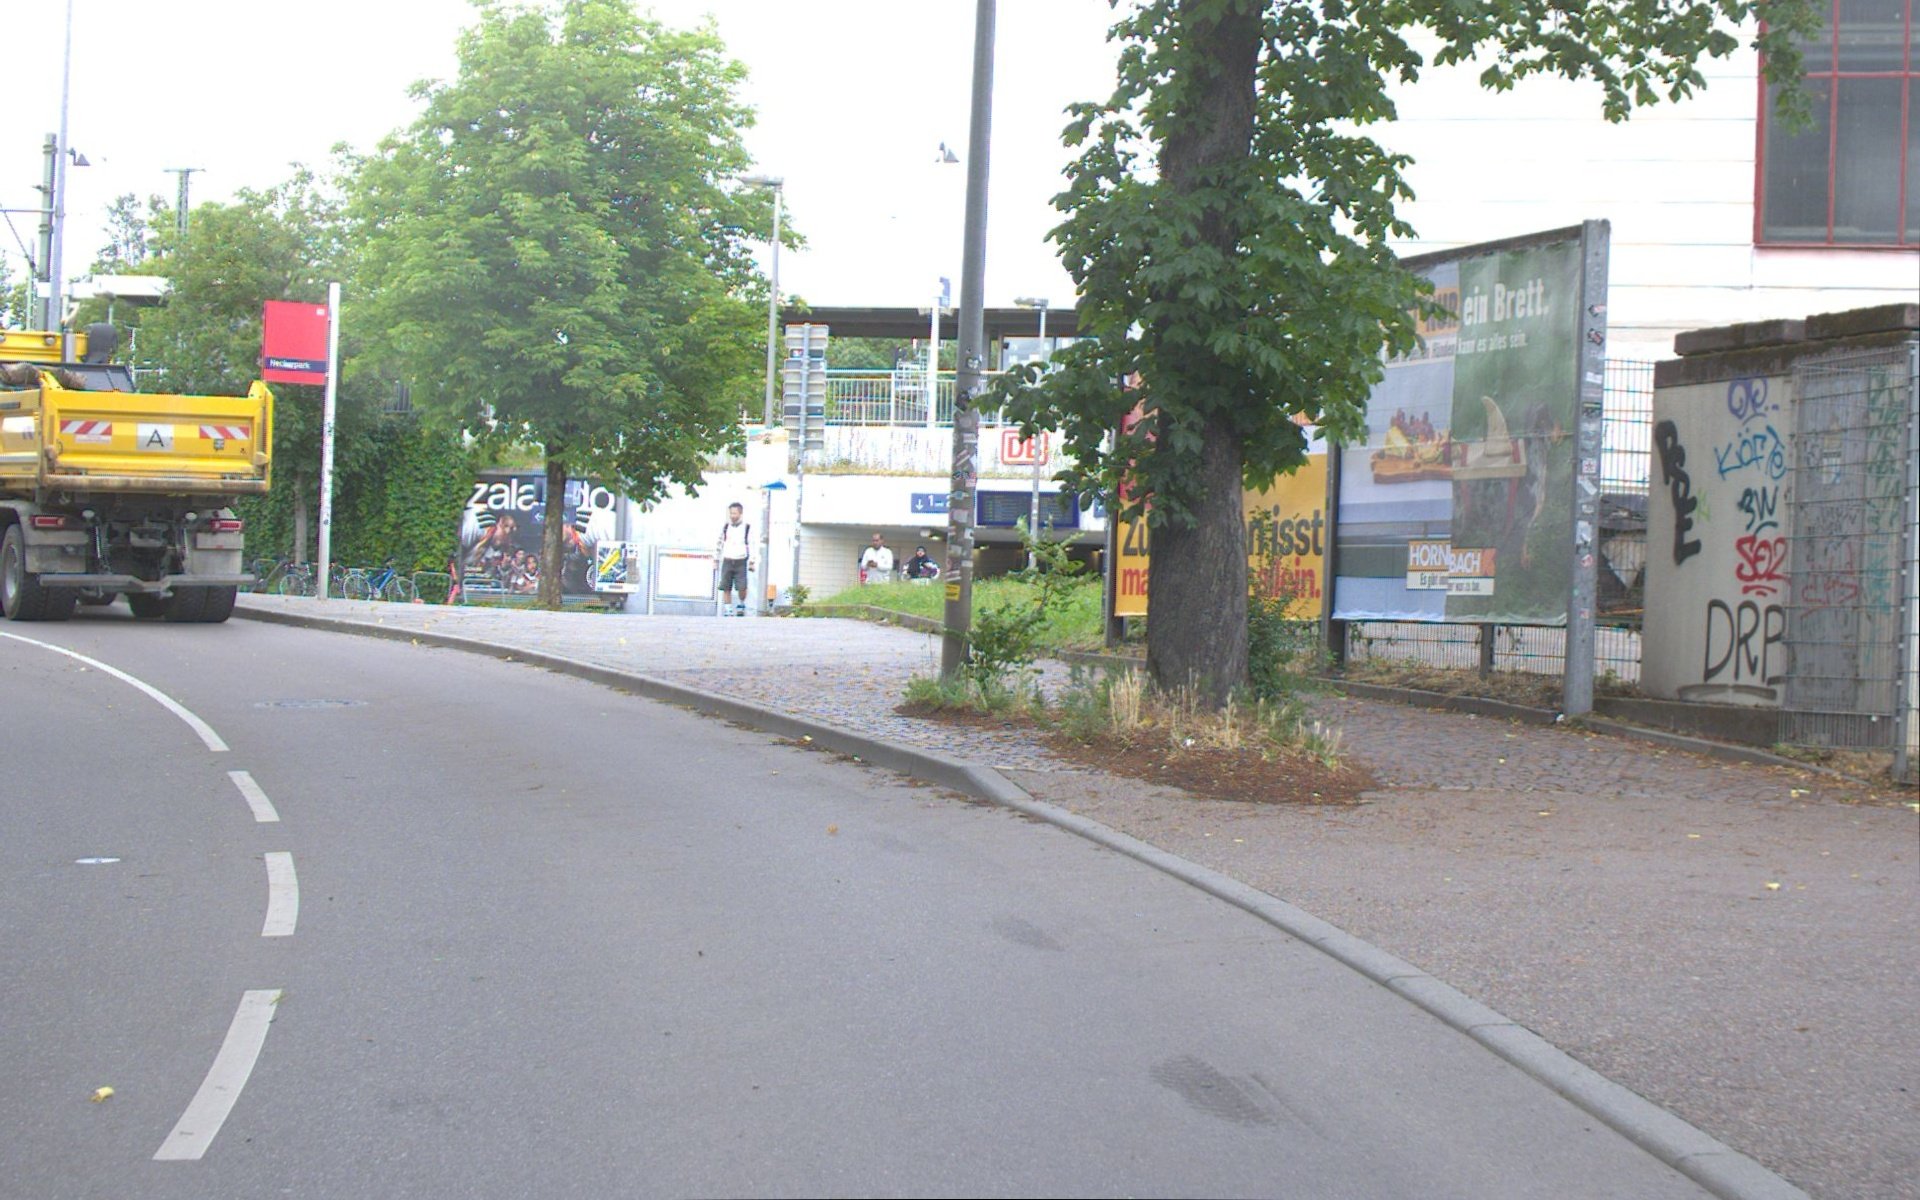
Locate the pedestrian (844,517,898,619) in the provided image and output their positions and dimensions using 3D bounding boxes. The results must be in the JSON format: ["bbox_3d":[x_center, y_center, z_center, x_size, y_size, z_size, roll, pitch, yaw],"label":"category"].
[{"bbox_3d":[-1.516,-0.542,58.693,0.814,1.697,0.749,2,-1,3],"label":"pedestrian"}]

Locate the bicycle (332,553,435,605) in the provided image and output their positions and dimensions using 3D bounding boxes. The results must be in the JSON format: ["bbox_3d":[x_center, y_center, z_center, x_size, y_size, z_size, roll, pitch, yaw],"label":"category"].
[{"bbox_3d":[-11.694,-0.422,69.755,1.966,0.862,0.511,6,-1,-37],"label":"bicycle"}]

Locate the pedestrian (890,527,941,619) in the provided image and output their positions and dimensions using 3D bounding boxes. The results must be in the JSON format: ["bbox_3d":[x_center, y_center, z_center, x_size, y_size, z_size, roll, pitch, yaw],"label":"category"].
[{"bbox_3d":[-0.773,-0.463,60.091,0.799,1.578,0.802,2,-1,3],"label":"pedestrian"}]

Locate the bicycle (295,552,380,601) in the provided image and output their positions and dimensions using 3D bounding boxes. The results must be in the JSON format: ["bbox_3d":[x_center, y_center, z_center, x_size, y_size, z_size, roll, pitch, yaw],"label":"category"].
[{"bbox_3d":[-12.727,-0.482,70.290,1.575,0.851,0.463,5,-1,-34],"label":"bicycle"}]

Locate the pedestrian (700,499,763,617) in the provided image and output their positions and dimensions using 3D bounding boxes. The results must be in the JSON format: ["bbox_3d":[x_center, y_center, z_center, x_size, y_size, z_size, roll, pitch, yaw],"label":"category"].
[{"bbox_3d":[-3.317,-0.601,50.011,0.848,1.678,0.940,1,-1,-1],"label":"pedestrian"}]

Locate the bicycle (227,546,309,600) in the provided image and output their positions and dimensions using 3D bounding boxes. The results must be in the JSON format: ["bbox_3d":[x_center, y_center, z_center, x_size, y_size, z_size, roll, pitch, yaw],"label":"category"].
[{"bbox_3d":[-14.143,-0.547,70.274,1.487,0.986,0.694,5,0,-19],"label":"bicycle"}]

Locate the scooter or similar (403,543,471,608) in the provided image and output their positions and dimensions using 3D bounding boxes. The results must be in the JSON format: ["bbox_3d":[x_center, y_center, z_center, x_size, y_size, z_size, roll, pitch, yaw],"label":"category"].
[{"bbox_3d":[-10.497,-0.497,68.998,1.187,1.202,0.468,5,-1,-34],"label":"scooter or similar"}]

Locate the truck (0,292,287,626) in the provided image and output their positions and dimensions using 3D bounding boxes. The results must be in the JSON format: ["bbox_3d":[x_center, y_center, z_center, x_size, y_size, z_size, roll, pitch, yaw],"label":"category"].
[{"bbox_3d":[-10.613,-1.730,40.818,2.764,3.471,8.131,2,2,-28],"label":"truck"}]
